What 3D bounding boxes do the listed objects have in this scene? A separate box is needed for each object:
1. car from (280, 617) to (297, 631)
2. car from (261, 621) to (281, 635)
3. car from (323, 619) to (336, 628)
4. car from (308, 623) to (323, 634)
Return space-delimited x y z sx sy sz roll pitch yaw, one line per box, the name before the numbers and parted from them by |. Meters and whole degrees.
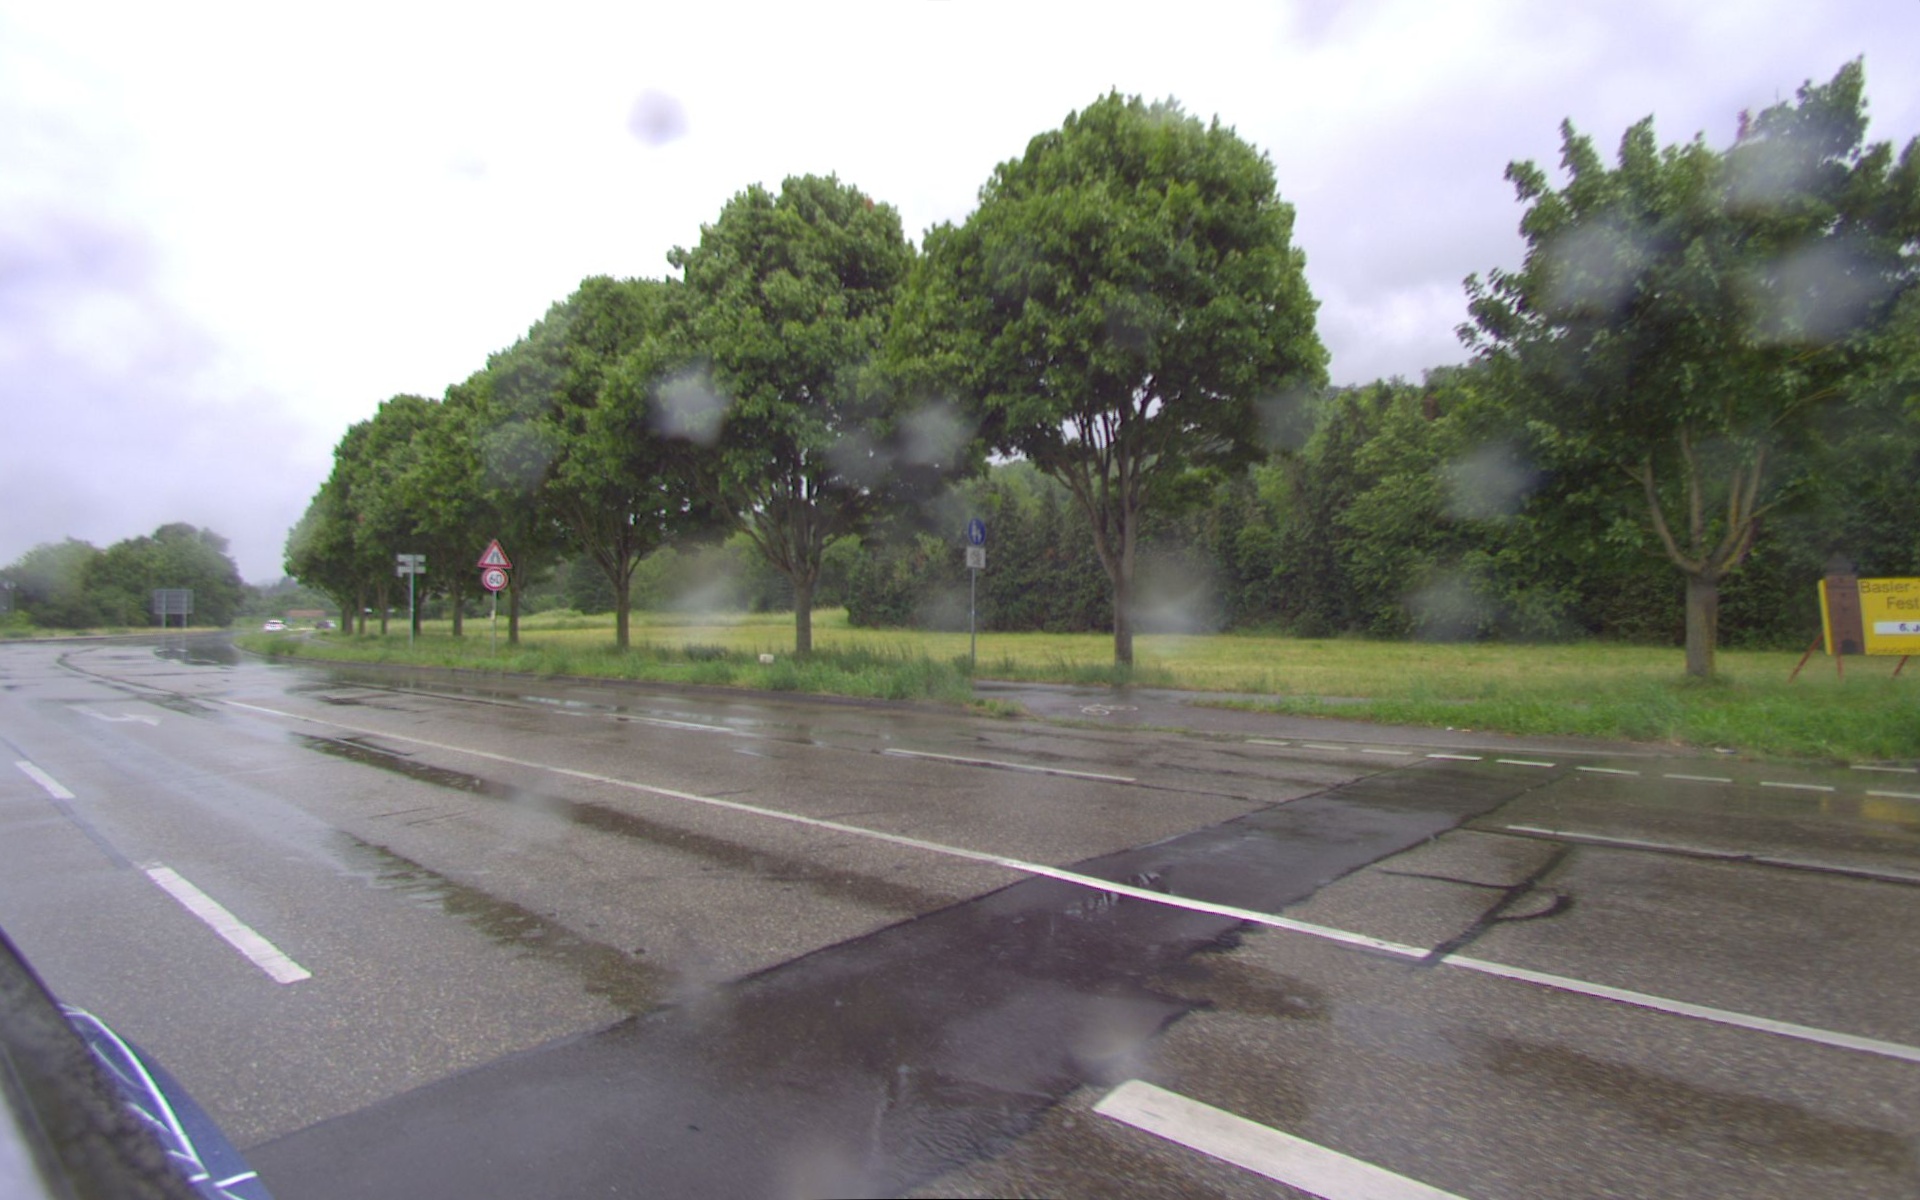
car | -99.159 3.531 149.393 1.715 2.006 4.023 2 -2 -29
car | -82.671 3.382 121.466 1.854 1.585 4.656 2 -3 -35
car | -109.519 4.091 175.778 1.715 1.498 4.021 2 -2 -34
car | -102.473 4.522 160.896 1.859 1.599 4.129 -2 0 -34
